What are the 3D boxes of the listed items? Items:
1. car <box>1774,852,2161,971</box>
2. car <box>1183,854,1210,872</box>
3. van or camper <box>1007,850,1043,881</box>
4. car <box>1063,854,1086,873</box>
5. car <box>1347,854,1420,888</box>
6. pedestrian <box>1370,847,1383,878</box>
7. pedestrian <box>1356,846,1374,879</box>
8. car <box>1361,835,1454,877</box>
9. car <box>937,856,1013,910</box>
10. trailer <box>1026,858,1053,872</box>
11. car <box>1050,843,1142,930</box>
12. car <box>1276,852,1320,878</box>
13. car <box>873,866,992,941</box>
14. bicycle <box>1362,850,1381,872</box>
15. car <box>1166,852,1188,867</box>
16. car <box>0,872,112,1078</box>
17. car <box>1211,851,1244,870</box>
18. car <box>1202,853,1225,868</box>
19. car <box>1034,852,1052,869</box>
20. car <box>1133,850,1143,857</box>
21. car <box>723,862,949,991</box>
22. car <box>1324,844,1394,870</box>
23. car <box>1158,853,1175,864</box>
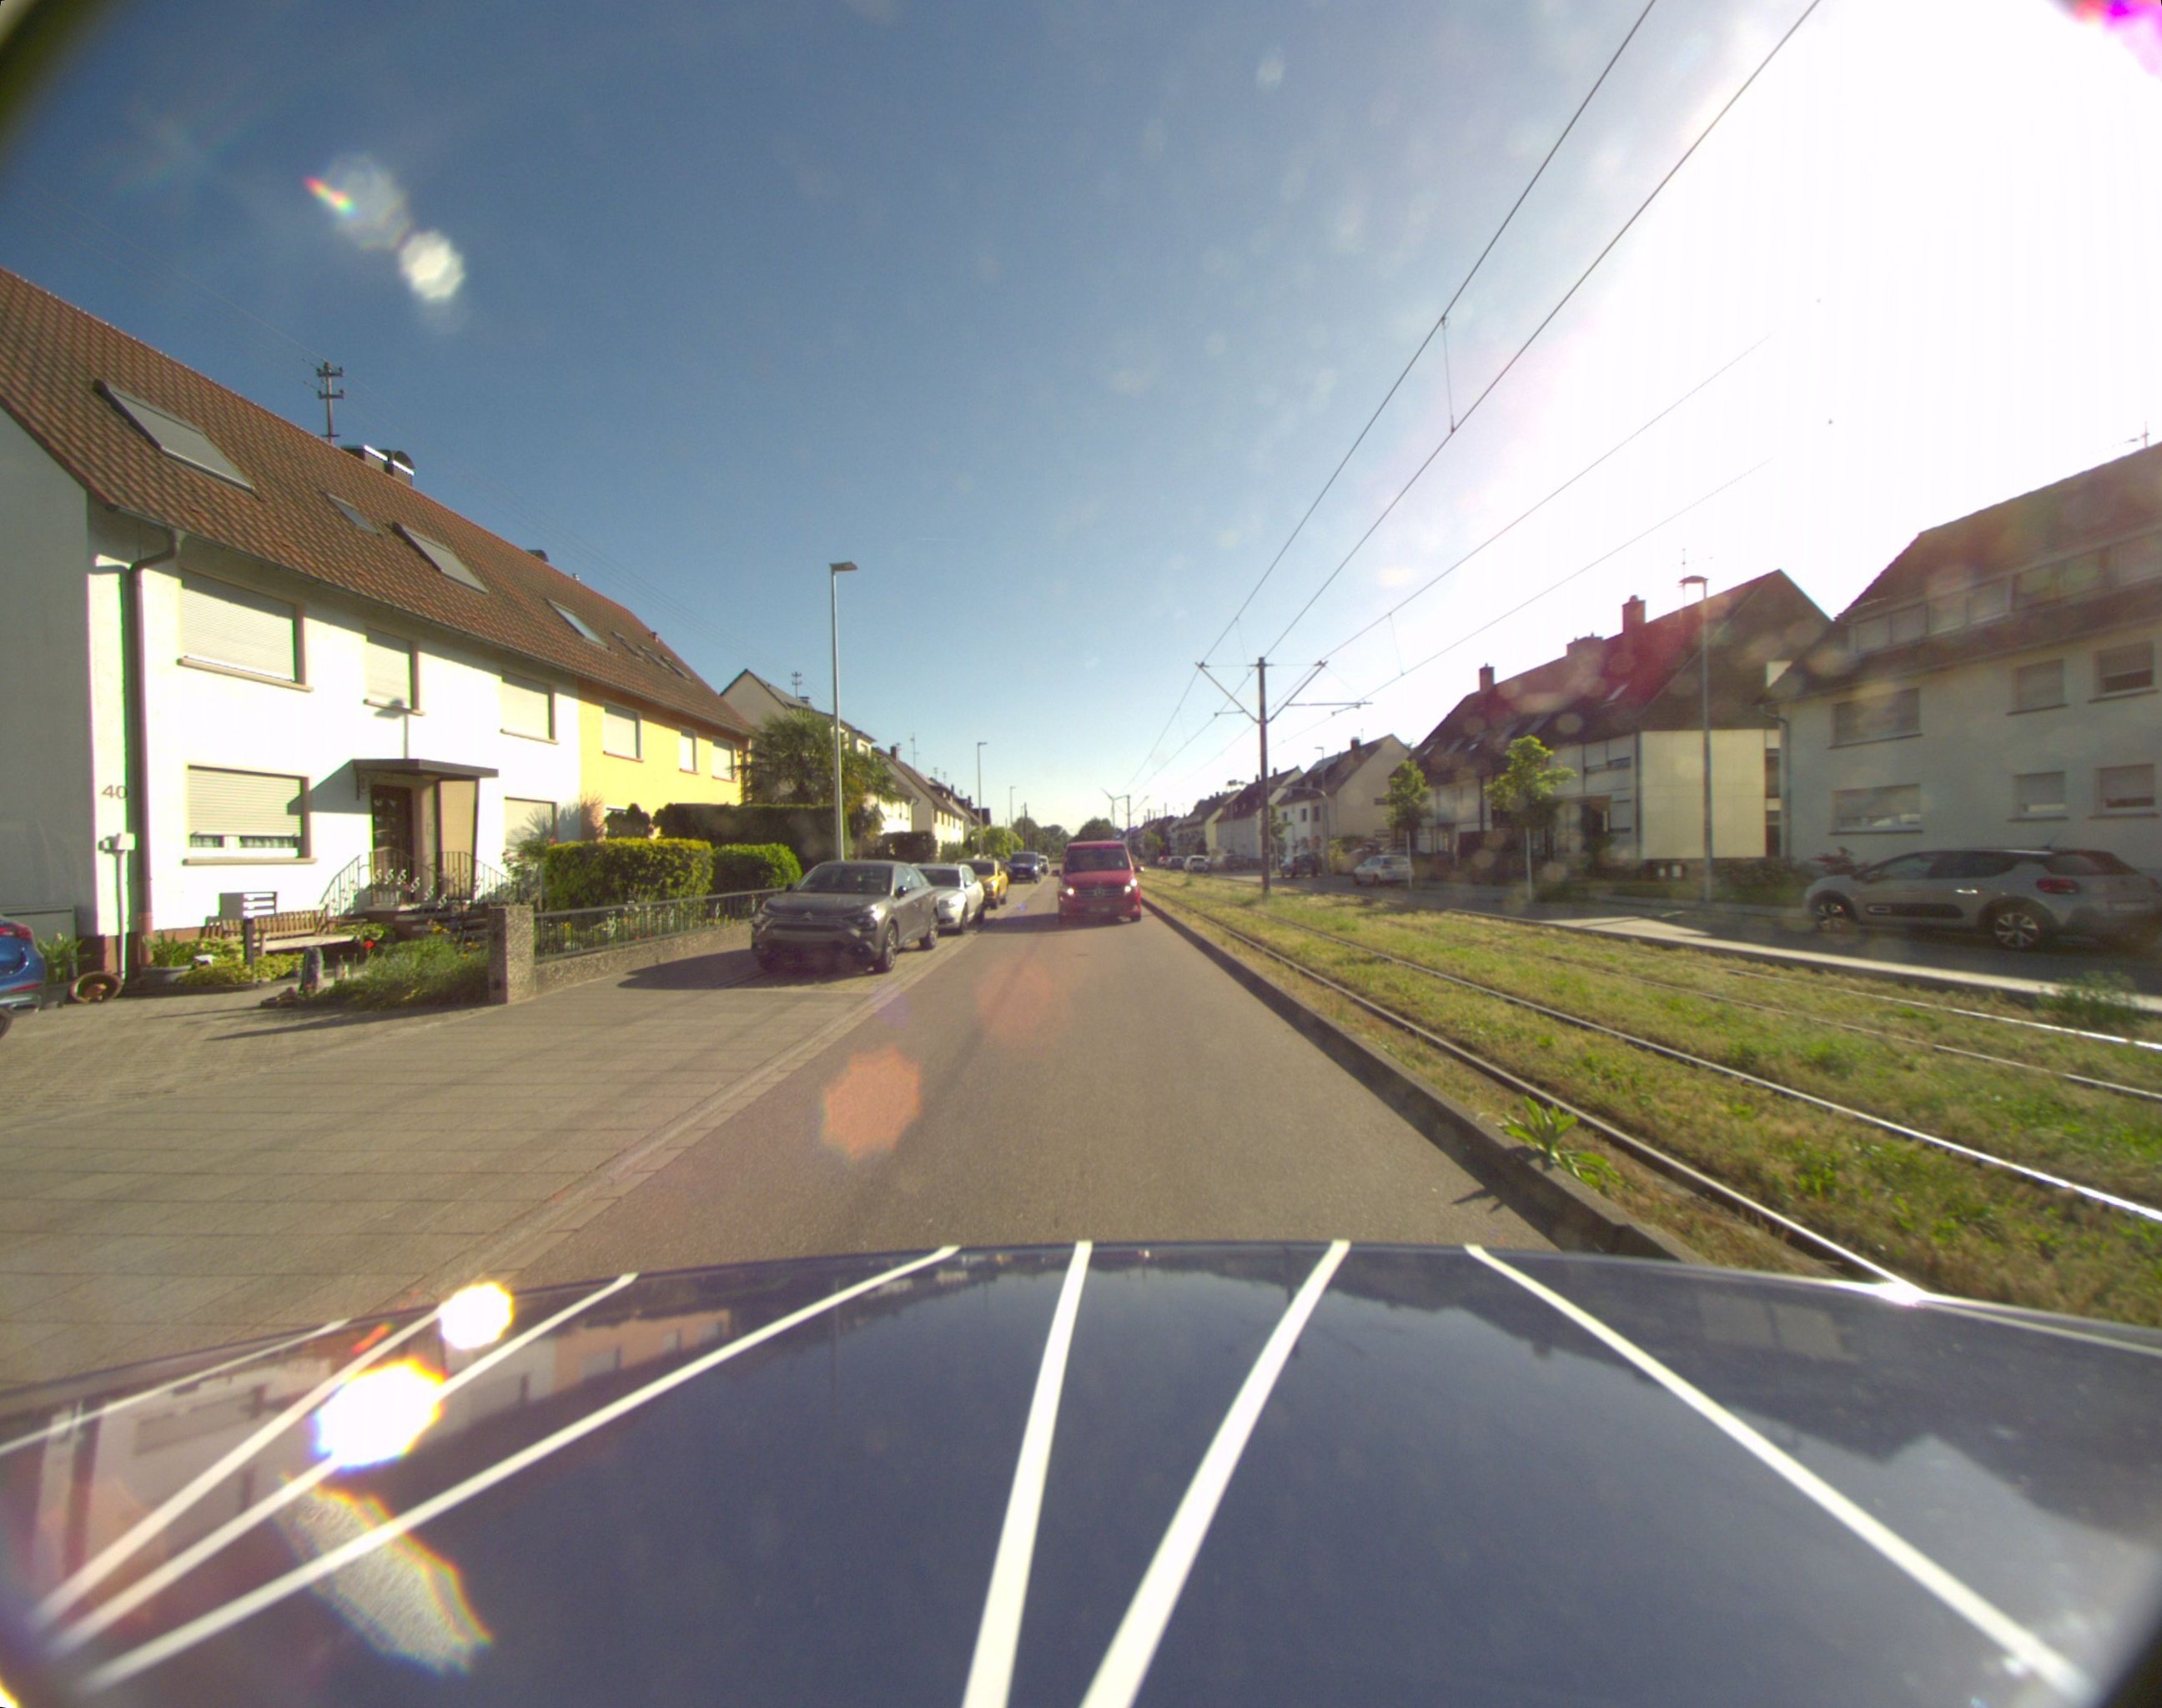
[{"bbox_3d":[13.900,0.748,12.118,1.693,1.464,4.314,-3,1,-1],"label":"car"},{"bbox_3d":[9.902,0.717,65.390,1.693,1.467,3.679,0,1,-1],"label":"car"},{"bbox_3d":[-3.411,0.653,47.119,1.954,1.836,5.581,0,1,-1],"label":"van or camper"},{"bbox_3d":[-0.587,0.840,69.536,1.862,1.592,4.327,1,0,-3],"label":"car"},{"bbox_3d":[14.013,0.729,35.413,1.662,1.428,4.102,-2,0,-1],"label":"car"},{"bbox_3d":[16.712,0.478,42.952,0.552,1.678,0.624,-2,1,15],"label":"pedestrian"},{"bbox_3d":[15.716,0.453,42.029,0.617,1.805,0.678,-3,1,-9],"label":"pedestrian"},{"bbox_3d":[18.834,0.098,43.968,4.472,2.068,1.787,-4,1,1],"label":"car"},{"bbox_3d":[-3.390,0.872,25.208,1.810,1.550,4.926,0,1,0],"label":"car"},{"bbox_3d":[-3.861,1.026,70.146,2.278,1.124,6.434,1,0,-4],"label":"trailer"},{"bbox_3d":[0.294,0.697,19.601,1.999,1.889,5.389,-2,1,-1],"label":"car"},{"bbox_3d":[13.704,0.658,48.144,1.623,1.503,4.085,-2,0,1],"label":"car"},{"bbox_3d":[-3.161,0.999,17.107,1.752,1.438,4.699,0,-1,0],"label":"car"},{"bbox_3d":[16.029,0.381,41.934,0.478,1.156,1.872,-3,1,6],"label":"bicycle"},{"bbox_3d":[10.095,0.524,80.214,1.693,1.467,4.082,-3,1,-1],"label":"car"},{"bbox_3d":[-10.958,1.057,5.663,4.426,1.645,2.196,-2,1,-2],"label":"car"},{"bbox_3d":[13.382,0.596,69.571,1.926,1.551,4.857,-3,1,-1],"label":"car"},{"bbox_3d":[13.021,0.624,74.864,1.469,1.459,3.998,-1,0,-2],"label":"car"},{"bbox_3d":[-4.064,0.667,80.508,1.796,1.752,4.583,1,0,-3],"label":"car"},{"bbox_3d":[12.631,-0.056,168.145,1.704,1.455,4.092,-3,1,-1],"label":"car"},{"bbox_3d":[-3.394,0.907,11.596,1.782,1.490,4.728,-1,0,2],"label":"car"},{"bbox_3d":[20.525,0.195,56.232,4.403,1.773,1.970,-1,0,-1],"label":"car"},{"bbox_3d":[12.009,0.622,106.680,1.832,1.522,4.092,-3,1,-1],"label":"car"}]
